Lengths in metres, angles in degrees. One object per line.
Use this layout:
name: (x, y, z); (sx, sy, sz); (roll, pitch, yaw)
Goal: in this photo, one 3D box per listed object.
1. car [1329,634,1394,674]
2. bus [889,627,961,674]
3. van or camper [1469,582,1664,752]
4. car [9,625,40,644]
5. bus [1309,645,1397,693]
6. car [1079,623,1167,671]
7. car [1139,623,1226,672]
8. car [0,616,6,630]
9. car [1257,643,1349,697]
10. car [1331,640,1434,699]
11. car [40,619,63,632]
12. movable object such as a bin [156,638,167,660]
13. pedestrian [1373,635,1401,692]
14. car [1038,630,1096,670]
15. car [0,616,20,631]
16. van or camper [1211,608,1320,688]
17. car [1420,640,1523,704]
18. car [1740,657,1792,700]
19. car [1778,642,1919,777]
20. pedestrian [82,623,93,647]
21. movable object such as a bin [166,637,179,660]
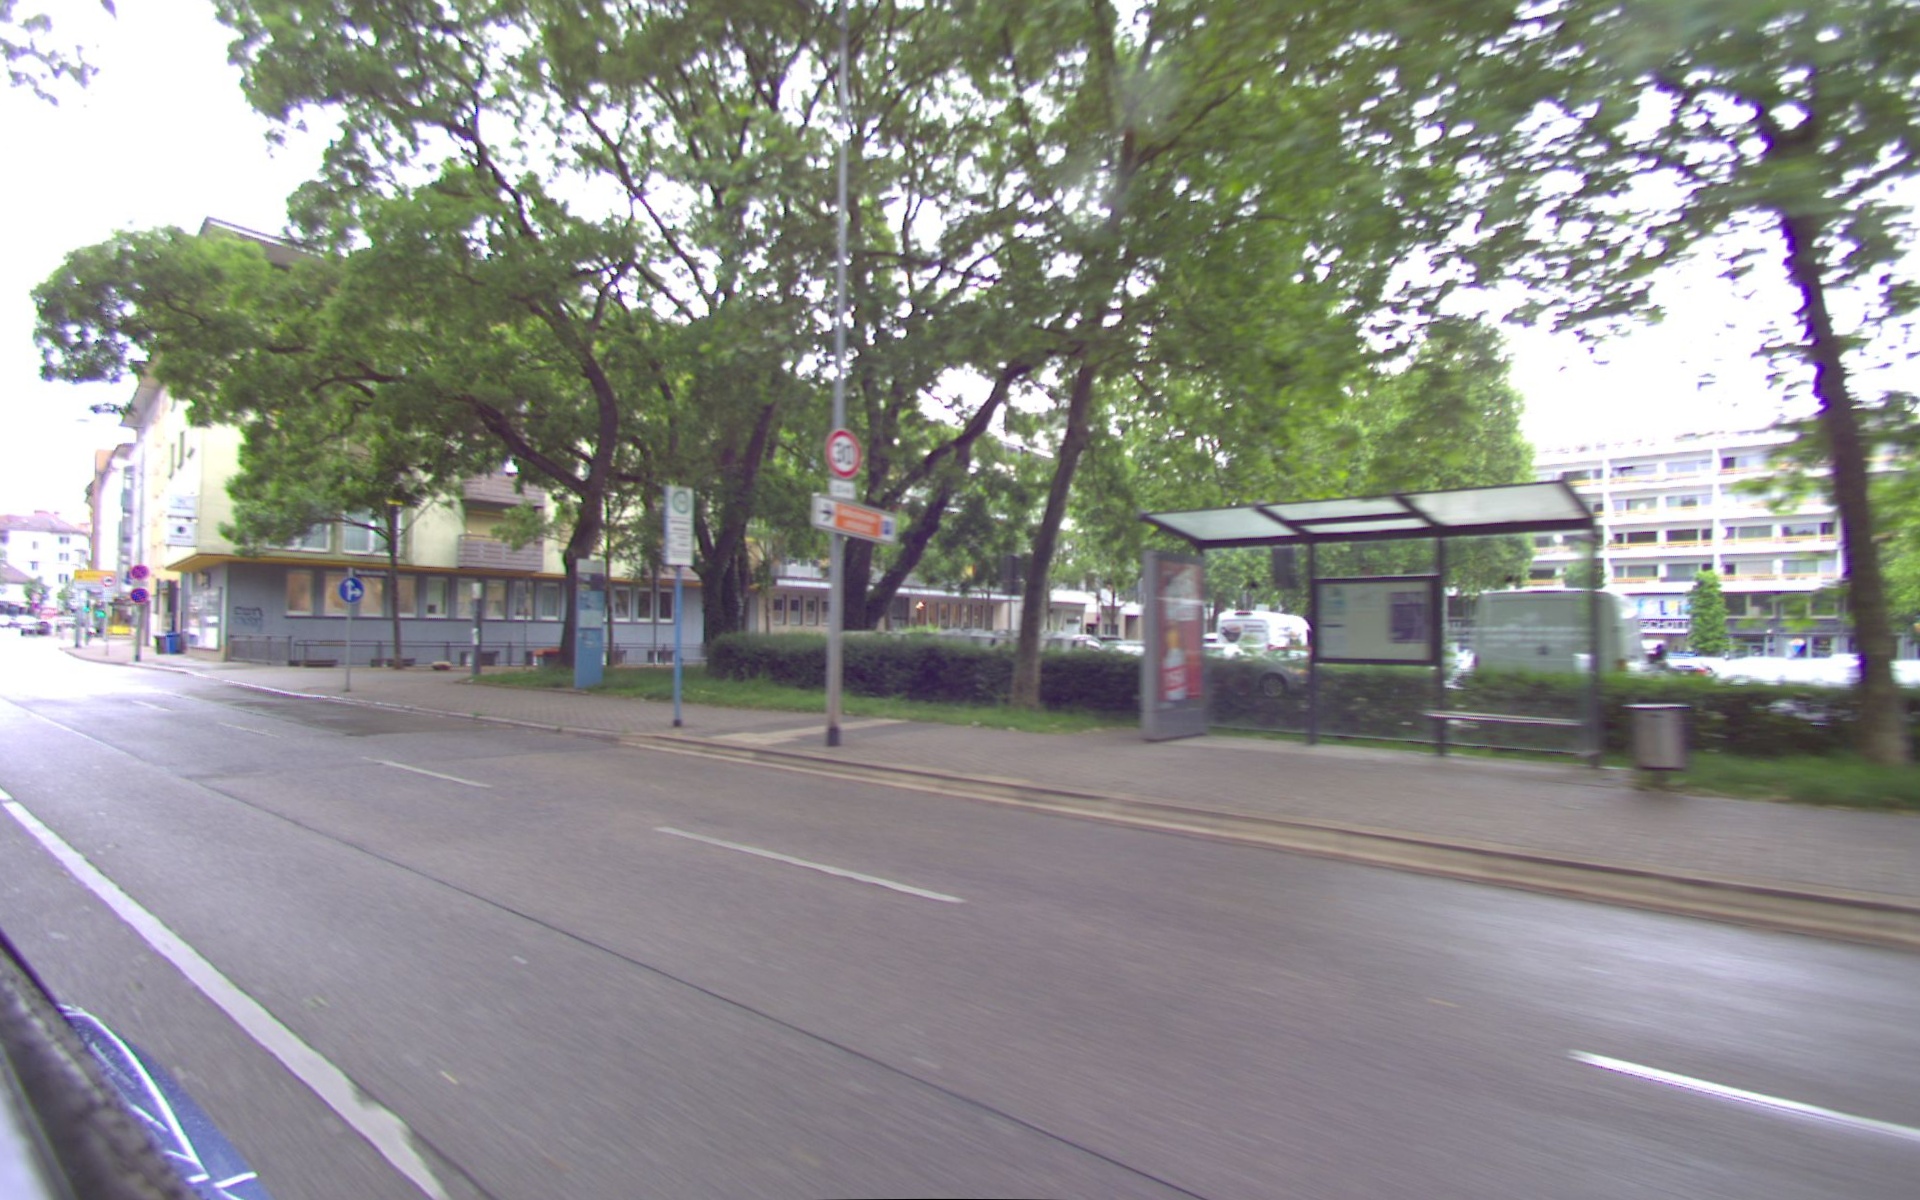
car: (18.890, 2.550, 47.552); (1.815, 1.787, 3.884); (-1, -3, 38)
bus: (-1.474, 2.191, 44.044); (1.703, 1.939, 3.698); (0, -3, 23)
van or camper: (9.337, 0.964, 15.409); (2.045, 2.186, 4.439); (-1, -3, 38)
car: (-89.367, 3.329, 96.644); (4.001, 1.730, 1.863); (-2, -4, 44)
bus: (12.634, 2.184, 32.449); (1.634, 1.399, 3.524); (-1, -3, 39)
car: (6.322, 1.812, 39.028); (1.739, 1.739, 3.950); (-1, -3, 37)
car: (8.343, 1.787, 37.737); (1.739, 1.739, 3.950); (-1, -3, 37)
car: (-119.466, 2.852, 125.101); (4.001, 1.653, 1.971); (-2, -4, 44)
car: (9.849, 1.992, 28.971); (1.391, 1.446, 3.227); (-1, -4, 41)
car: (11.563, 1.856, 27.578); (1.727, 1.474, 3.799); (-1, -3, 37)
car: (-118.789, 3.344, 132.335); (4.001, 1.670, 1.842); (-2, -4, 44)
movable object such as a bin: (-36.743, 2.257, 46.581); (0.333, 1.037, 0.354); (4, -4, -42)
pedestrian: (9.491, 1.409, 22.492); (0.484, 1.222, 0.433); (-1, 0, 33)
car: (5.734, 2.660, 53.794); (1.987, 2.029, 3.968); (0, -3, 23)
car: (-122.227, 3.058, 129.878); (4.001, 1.866, 1.971); (-2, -4, 44)
van or camper: (10.503, 1.638, 34.612); (2.096, 2.556, 4.368); (-1, -3, 39)
car: (13.133, 1.807, 25.904); (1.727, 1.474, 3.799); (-1, -3, 37)
car: (27.872, 2.674, 34.996); (1.346, 1.394, 3.125); (-1, -3, 39)
car: (12.413, 1.422, 14.093); (1.506, 1.536, 3.161); (-1, 0, 38)
pedestrian: (-69.266, 2.805, 80.341); (0.586, 1.858, 0.565); (4, -4, -42)
movable object such as a bin: (-36.325, 2.231, 46.680); (0.409, 1.037, 0.354); (4, -4, -42)
